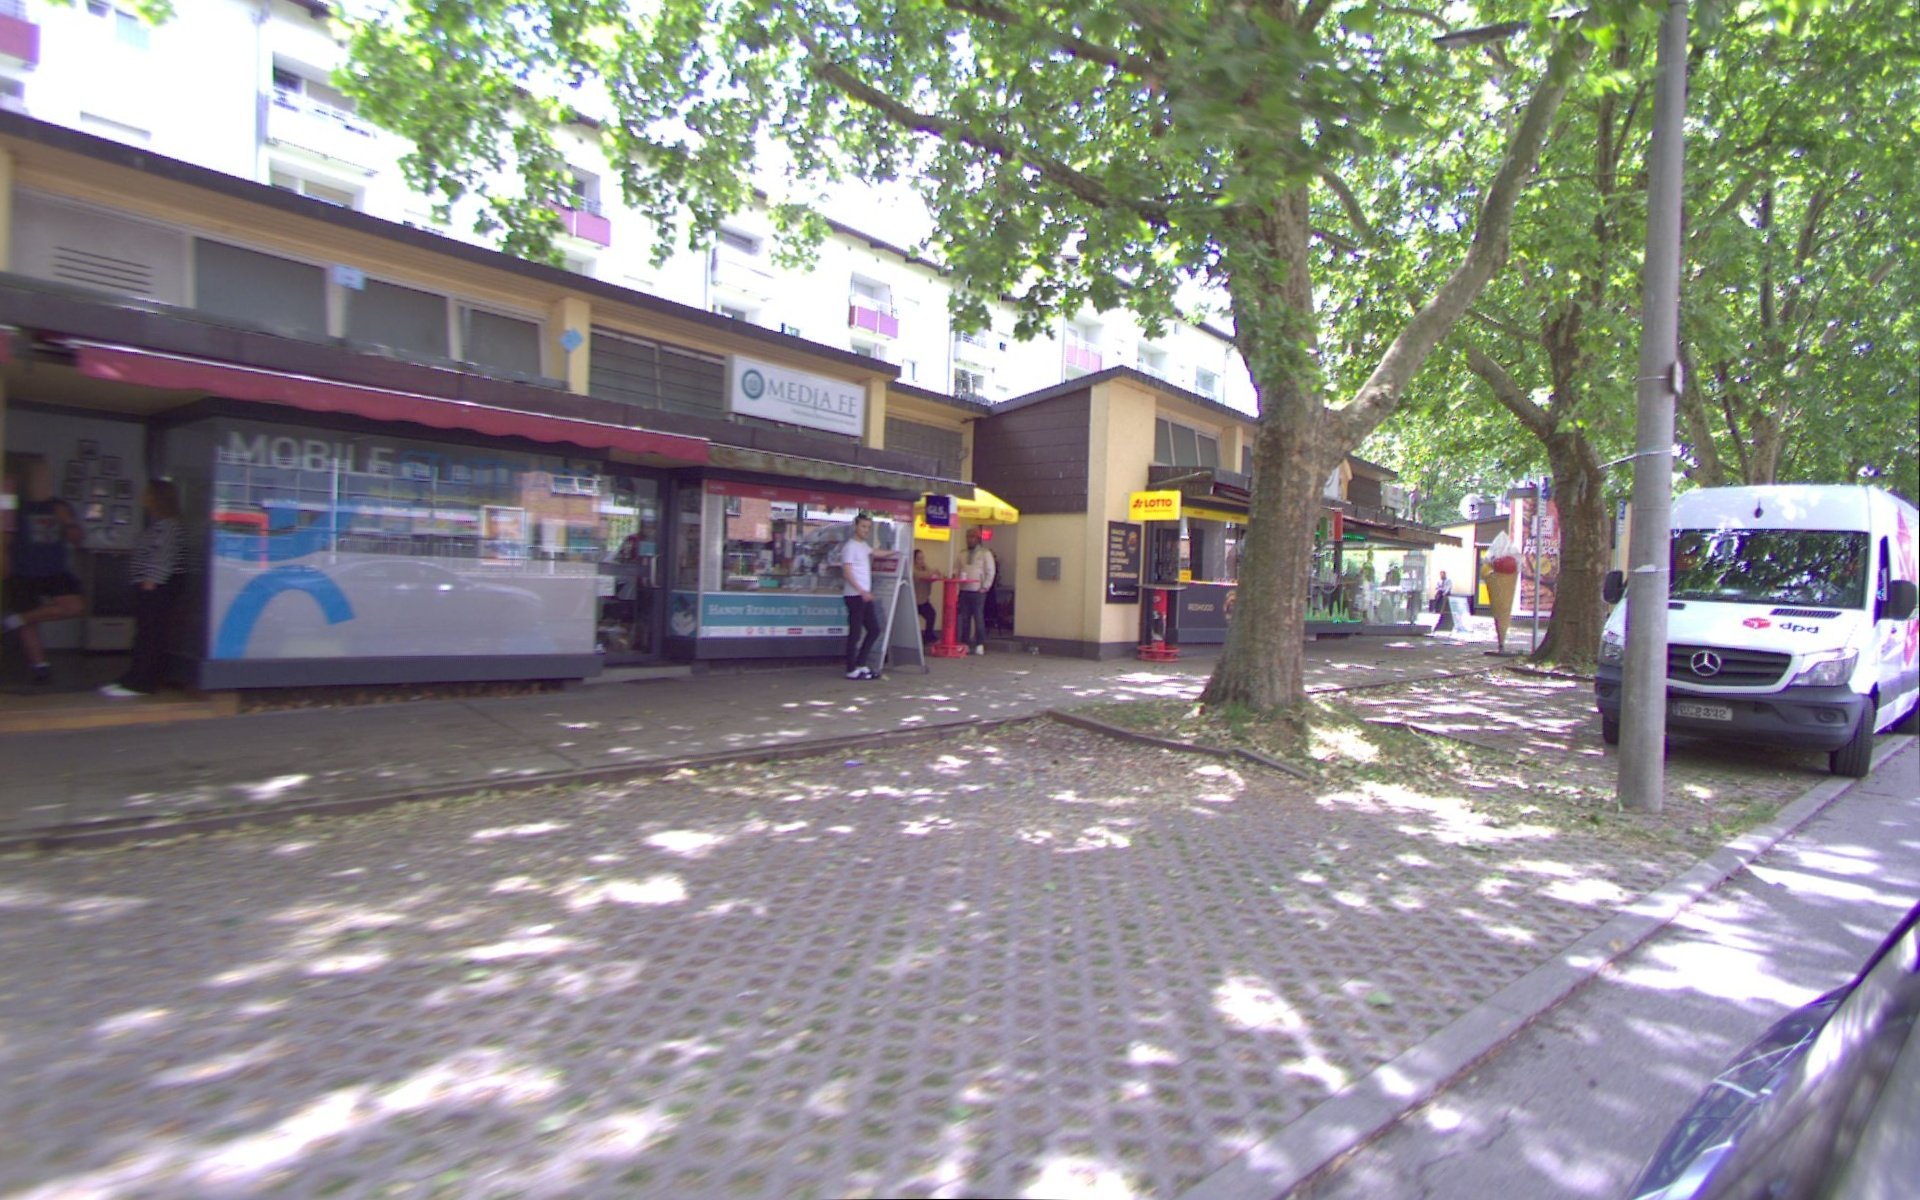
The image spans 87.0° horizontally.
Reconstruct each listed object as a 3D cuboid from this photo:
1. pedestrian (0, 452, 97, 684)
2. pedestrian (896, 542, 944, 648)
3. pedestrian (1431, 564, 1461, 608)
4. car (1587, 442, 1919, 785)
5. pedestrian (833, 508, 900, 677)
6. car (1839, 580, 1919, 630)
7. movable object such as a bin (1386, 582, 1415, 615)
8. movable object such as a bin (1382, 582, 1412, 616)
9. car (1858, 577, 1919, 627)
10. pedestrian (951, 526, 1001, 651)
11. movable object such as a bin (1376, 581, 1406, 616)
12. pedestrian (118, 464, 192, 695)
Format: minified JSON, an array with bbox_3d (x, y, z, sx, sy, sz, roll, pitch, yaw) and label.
[{"bbox_3d":[-7.360,-0.252,8.093,0.372,1.780,0.644,2,1,41],"label":"pedestrian"},{"bbox_3d":[-0.579,-0.083,14.691,0.462,1.505,0.504,1,1,38],"label":"pedestrian"},{"bbox_3d":[17.665,-0.504,36.783,0.749,1.554,0.894,2,2,42],"label":"pedestrian"},{"bbox_3d":[8.878,0.047,10.635,6.714,2.612,1.908,0,3,-41],"label":"car"},{"bbox_3d":[-1.051,-0.099,11.476,0.595,1.823,0.926,1,2,3],"label":"pedestrian"},{"bbox_3d":[32.697,0.199,34.908,1.584,1.532,3.411,0,5,-44],"label":"car"},{"bbox_3d":[14.079,-0.051,32.338,0.637,1.046,0.624,0,2,-45],"label":"movable object such as a bin"},{"bbox_3d":[13.703,-0.047,31.742,0.637,1.029,0.624,0,2,-45],"label":"movable object such as a bin"},{"bbox_3d":[36.135,0.206,37.376,1.699,1.629,4.045,-1,8,-38],"label":"car"},{"bbox_3d":[0.235,-0.178,15.045,0.516,1.816,0.527,1,1,39],"label":"pedestrian"},{"bbox_3d":[13.253,-0.043,31.131,0.637,1.029,0.624,0,2,-45],"label":"movable object such as a bin"},{"bbox_3d":[-6.265,-0.165,7.872,0.544,1.725,0.367,3,2,43],"label":"pedestrian"}]
